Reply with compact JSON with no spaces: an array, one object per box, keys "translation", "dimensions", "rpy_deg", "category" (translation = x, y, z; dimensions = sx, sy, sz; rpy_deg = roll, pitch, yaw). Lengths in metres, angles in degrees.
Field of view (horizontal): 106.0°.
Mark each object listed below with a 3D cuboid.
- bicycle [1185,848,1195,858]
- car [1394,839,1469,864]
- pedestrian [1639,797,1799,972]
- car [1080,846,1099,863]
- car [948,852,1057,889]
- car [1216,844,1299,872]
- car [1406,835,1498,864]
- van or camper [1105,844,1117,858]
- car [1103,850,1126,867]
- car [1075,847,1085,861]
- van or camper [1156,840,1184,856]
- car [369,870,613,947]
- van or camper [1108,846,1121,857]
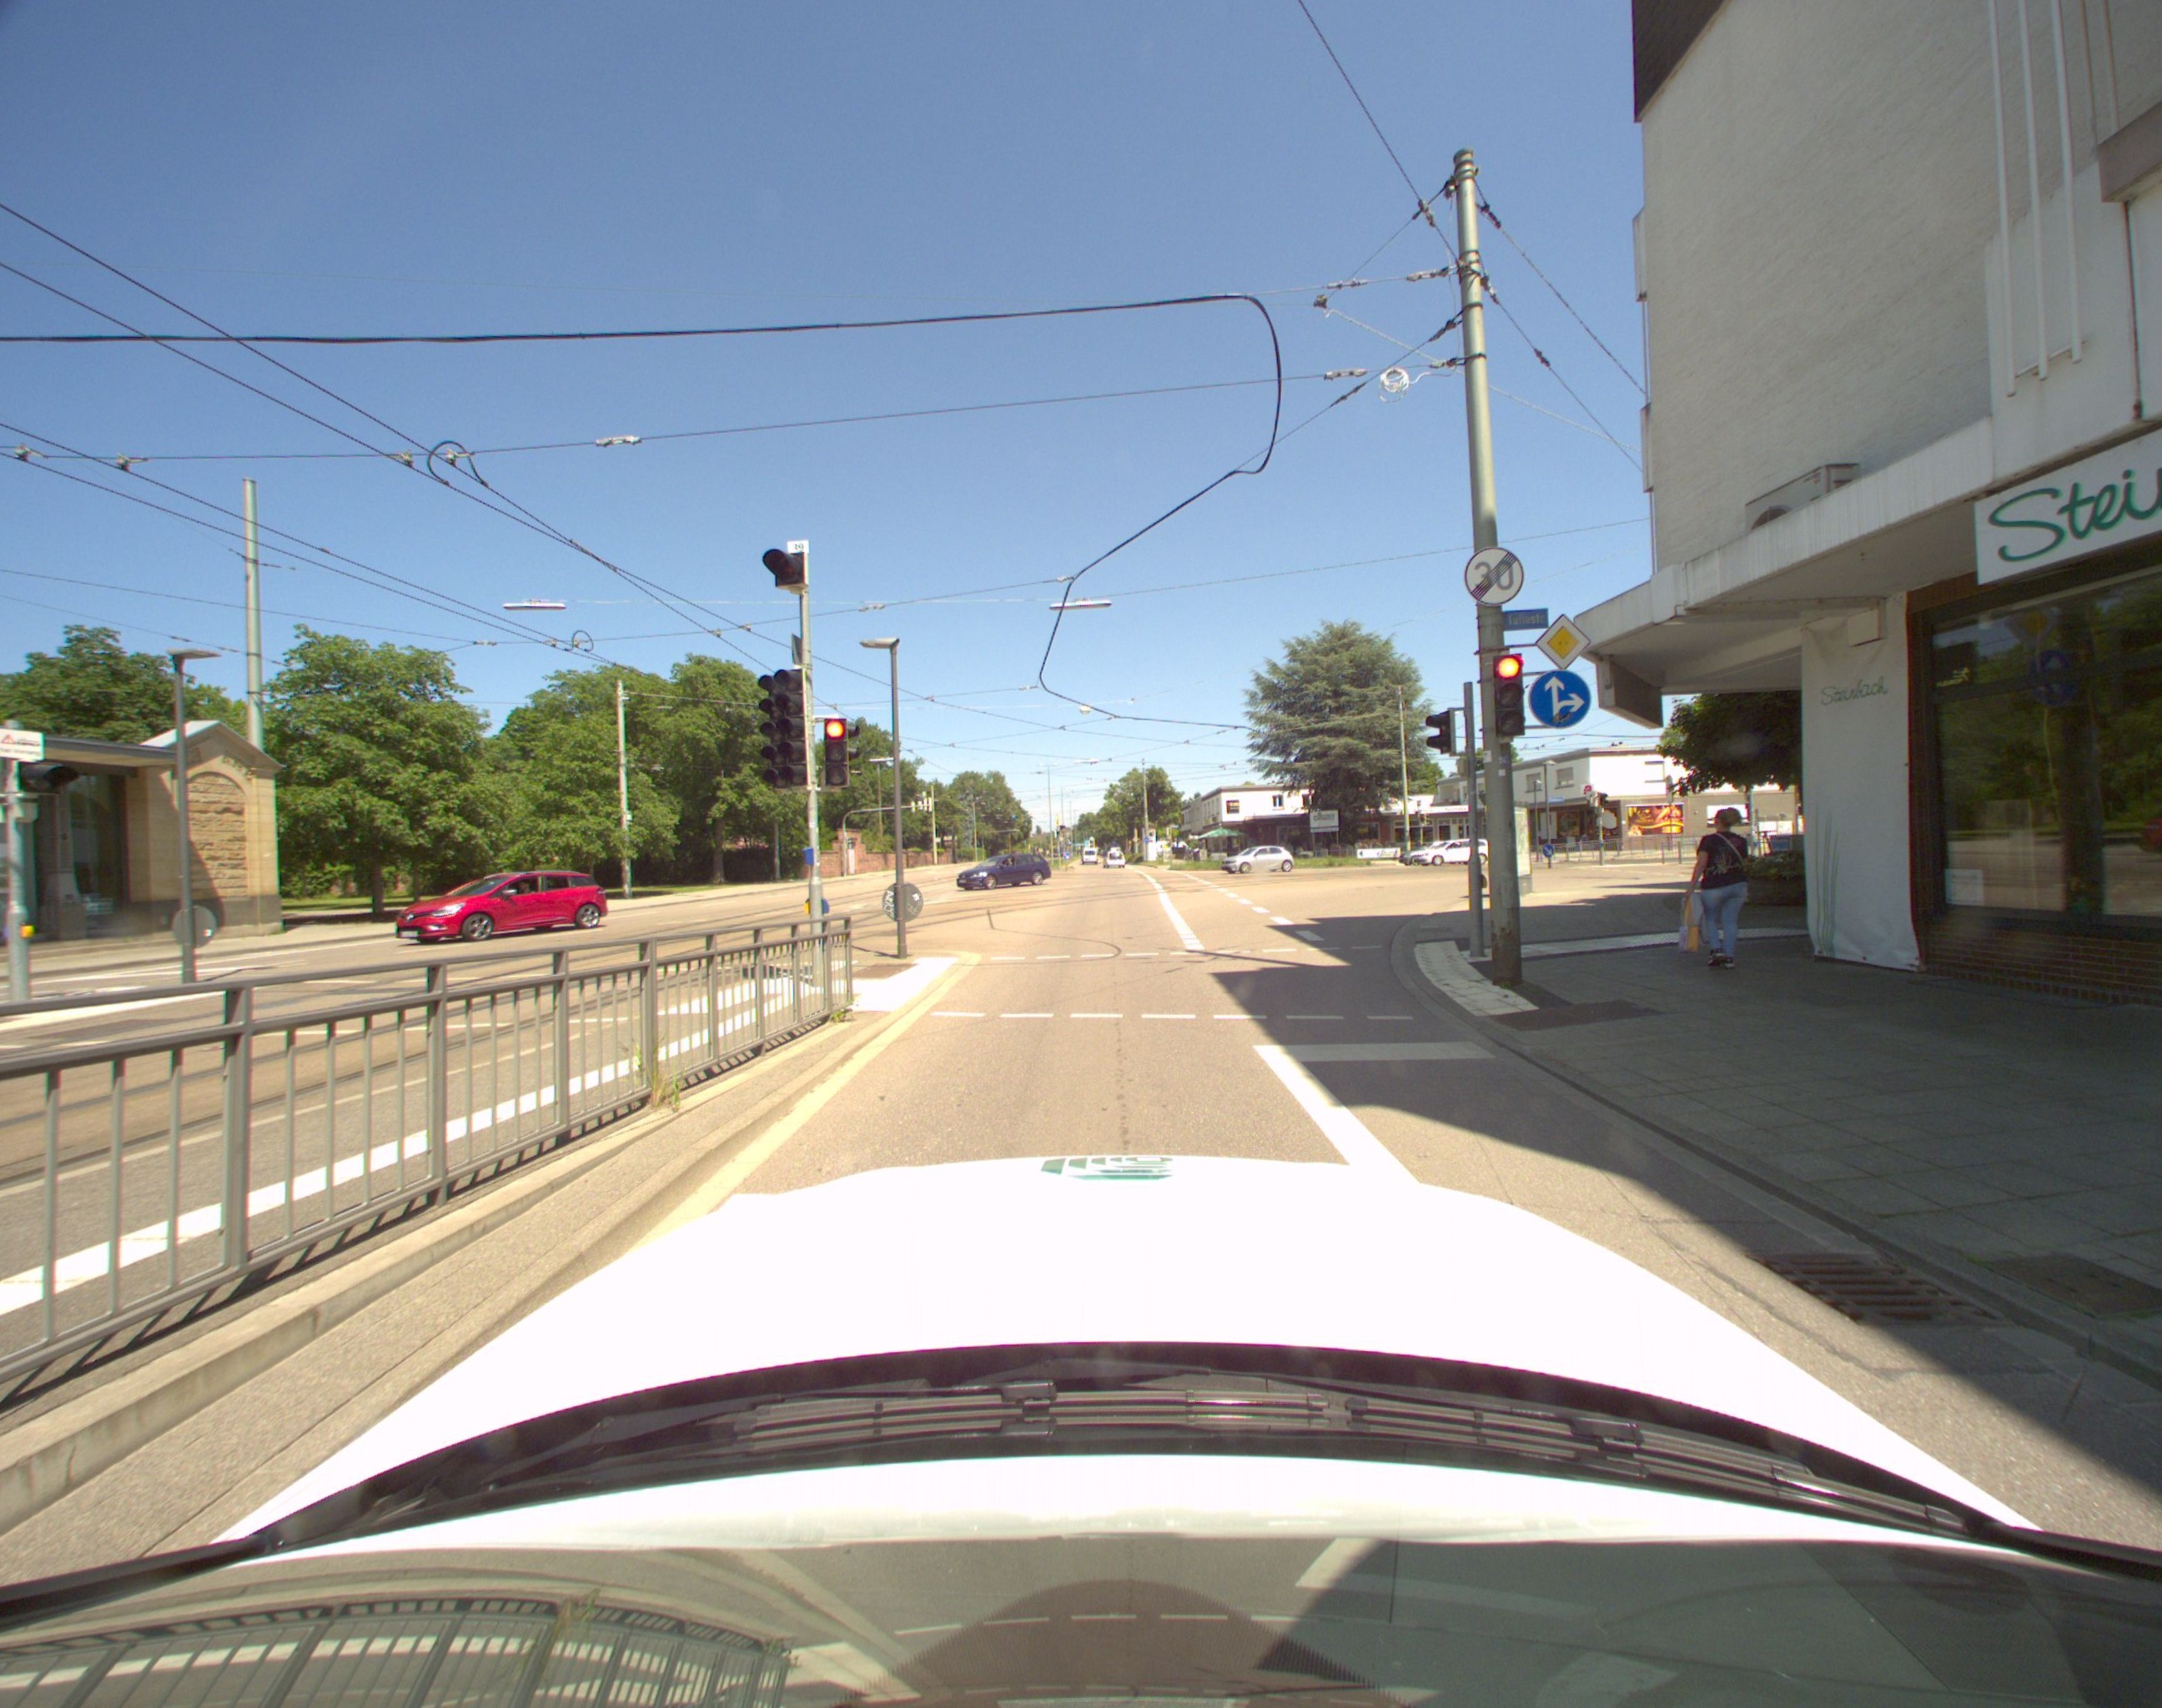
[{"translation":[11.303,-0.116,84.413],"dimensions":[1.028,1.014,2.643],"rpy_deg":[-2,0,8],"category":"bicycle"},{"translation":[21.444,-0.142,49.915],"dimensions":[3.814,1.351,1.643],"rpy_deg":[-2,0,2],"category":"car"},{"translation":[6.325,0.287,8.130],"dimensions":[0.822,1.583,0.828],"rpy_deg":[-6,-1,7],"category":"pedestrian"},{"translation":[0.948,0.029,93.095],"dimensions":[1.988,1.859,3.999],"rpy_deg":[-2,1,-1],"category":"car"},{"translation":[-3.429,0.698,36.099],"dimensions":[4.501,1.442,1.841],"rpy_deg":[-2,0,-40],"category":"car"},{"translation":[9.655,0.222,44.520],"dimensions":[4.048,1.362,1.813],"rpy_deg":[-2,0,-17],"category":"car"},{"translation":[21.288,-0.246,46.802],"dimensions":[4.473,1.489,1.822],"rpy_deg":[-2,0,-3],"category":"car"},{"translation":[5.589,-0.557,152.952],"dimensions":[1.988,2.464,3.998],"rpy_deg":[-2,0,-2],"category":"van or camper"},{"translation":[2.963,0.422,73.109],"dimensions":[1.667,1.435,3.469],"rpy_deg":[-2,0,-4],"category":"car"},{"translation":[-0.165,0.007,124.001],"dimensions":[1.417,2.013,3.626],"rpy_deg":[-2,0,-3],"category":"car"},{"translation":[15.633,-0.990,143.263],"dimensions":[4.742,2.671,2.135],"rpy_deg":[-2,0,-1],"category":"van or camper"},{"translation":[-13.325,1.170,18.732],"dimensions":[1.802,1.395,4.197],"rpy_deg":[-2,0,21],"category":"car"},{"translation":[5.364,-0.412,130.471],"dimensions":[1.915,1.772,4.002],"rpy_deg":[-2,0,2],"category":"van or camper"}]
